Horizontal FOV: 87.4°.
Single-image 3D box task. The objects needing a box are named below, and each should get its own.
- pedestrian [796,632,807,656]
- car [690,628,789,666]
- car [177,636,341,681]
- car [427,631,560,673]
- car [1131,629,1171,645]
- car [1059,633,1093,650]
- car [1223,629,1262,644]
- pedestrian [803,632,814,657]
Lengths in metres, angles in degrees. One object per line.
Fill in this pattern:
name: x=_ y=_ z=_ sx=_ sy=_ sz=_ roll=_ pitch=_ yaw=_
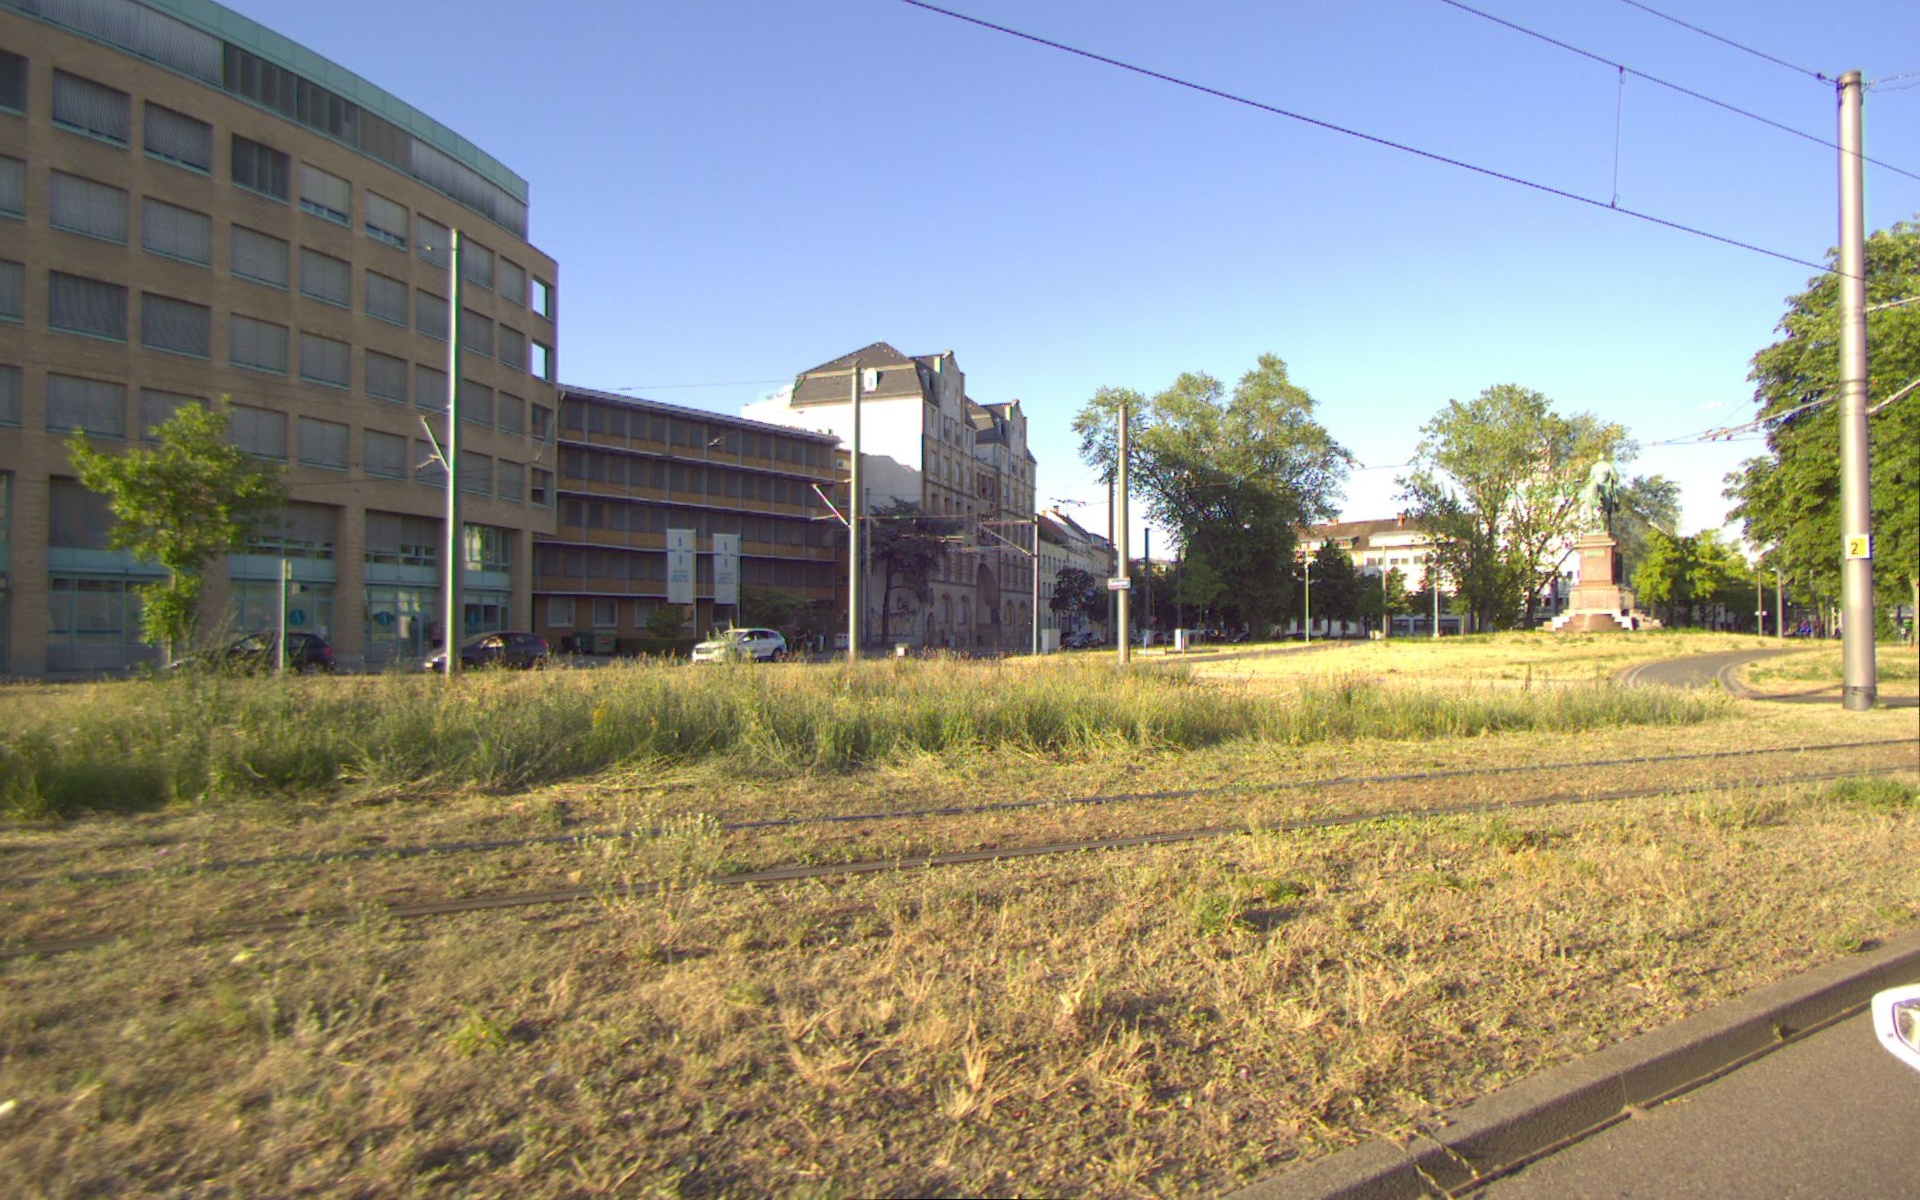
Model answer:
pedestrian: x=-9.509 y=2.645 z=60.230 sx=0.409 sy=1.449 sz=0.482 roll=-1 pitch=-1 yaw=42
car: x=-9.205 y=1.945 z=42.324 sx=1.743 sy=1.502 sz=4.304 roll=-1 pitch=-1 yaw=27
car: x=-19.898 y=1.622 z=28.600 sx=1.502 sy=1.169 sz=3.581 roll=-1 pitch=-2 yaw=40
car: x=-15.583 y=1.704 z=33.659 sx=1.628 sy=1.298 sz=3.719 roll=-1 pitch=-2 yaw=42
car: x=17.076 y=3.265 z=89.739 sx=3.489 sy=1.372 sz=1.538 roll=1 pitch=0 yaw=-38
car: x=9.362 y=3.339 z=80.691 sx=1.542 sy=1.275 sz=3.724 roll=0 pitch=-1 yaw=27
car: x=27.255 y=3.545 z=96.992 sx=3.471 sy=1.372 sz=1.546 roll=1 pitch=0 yaw=-23
pedestrian: x=-9.011 y=2.648 z=59.760 sx=0.409 sy=1.449 sz=0.482 roll=-1 pitch=-1 yaw=42
